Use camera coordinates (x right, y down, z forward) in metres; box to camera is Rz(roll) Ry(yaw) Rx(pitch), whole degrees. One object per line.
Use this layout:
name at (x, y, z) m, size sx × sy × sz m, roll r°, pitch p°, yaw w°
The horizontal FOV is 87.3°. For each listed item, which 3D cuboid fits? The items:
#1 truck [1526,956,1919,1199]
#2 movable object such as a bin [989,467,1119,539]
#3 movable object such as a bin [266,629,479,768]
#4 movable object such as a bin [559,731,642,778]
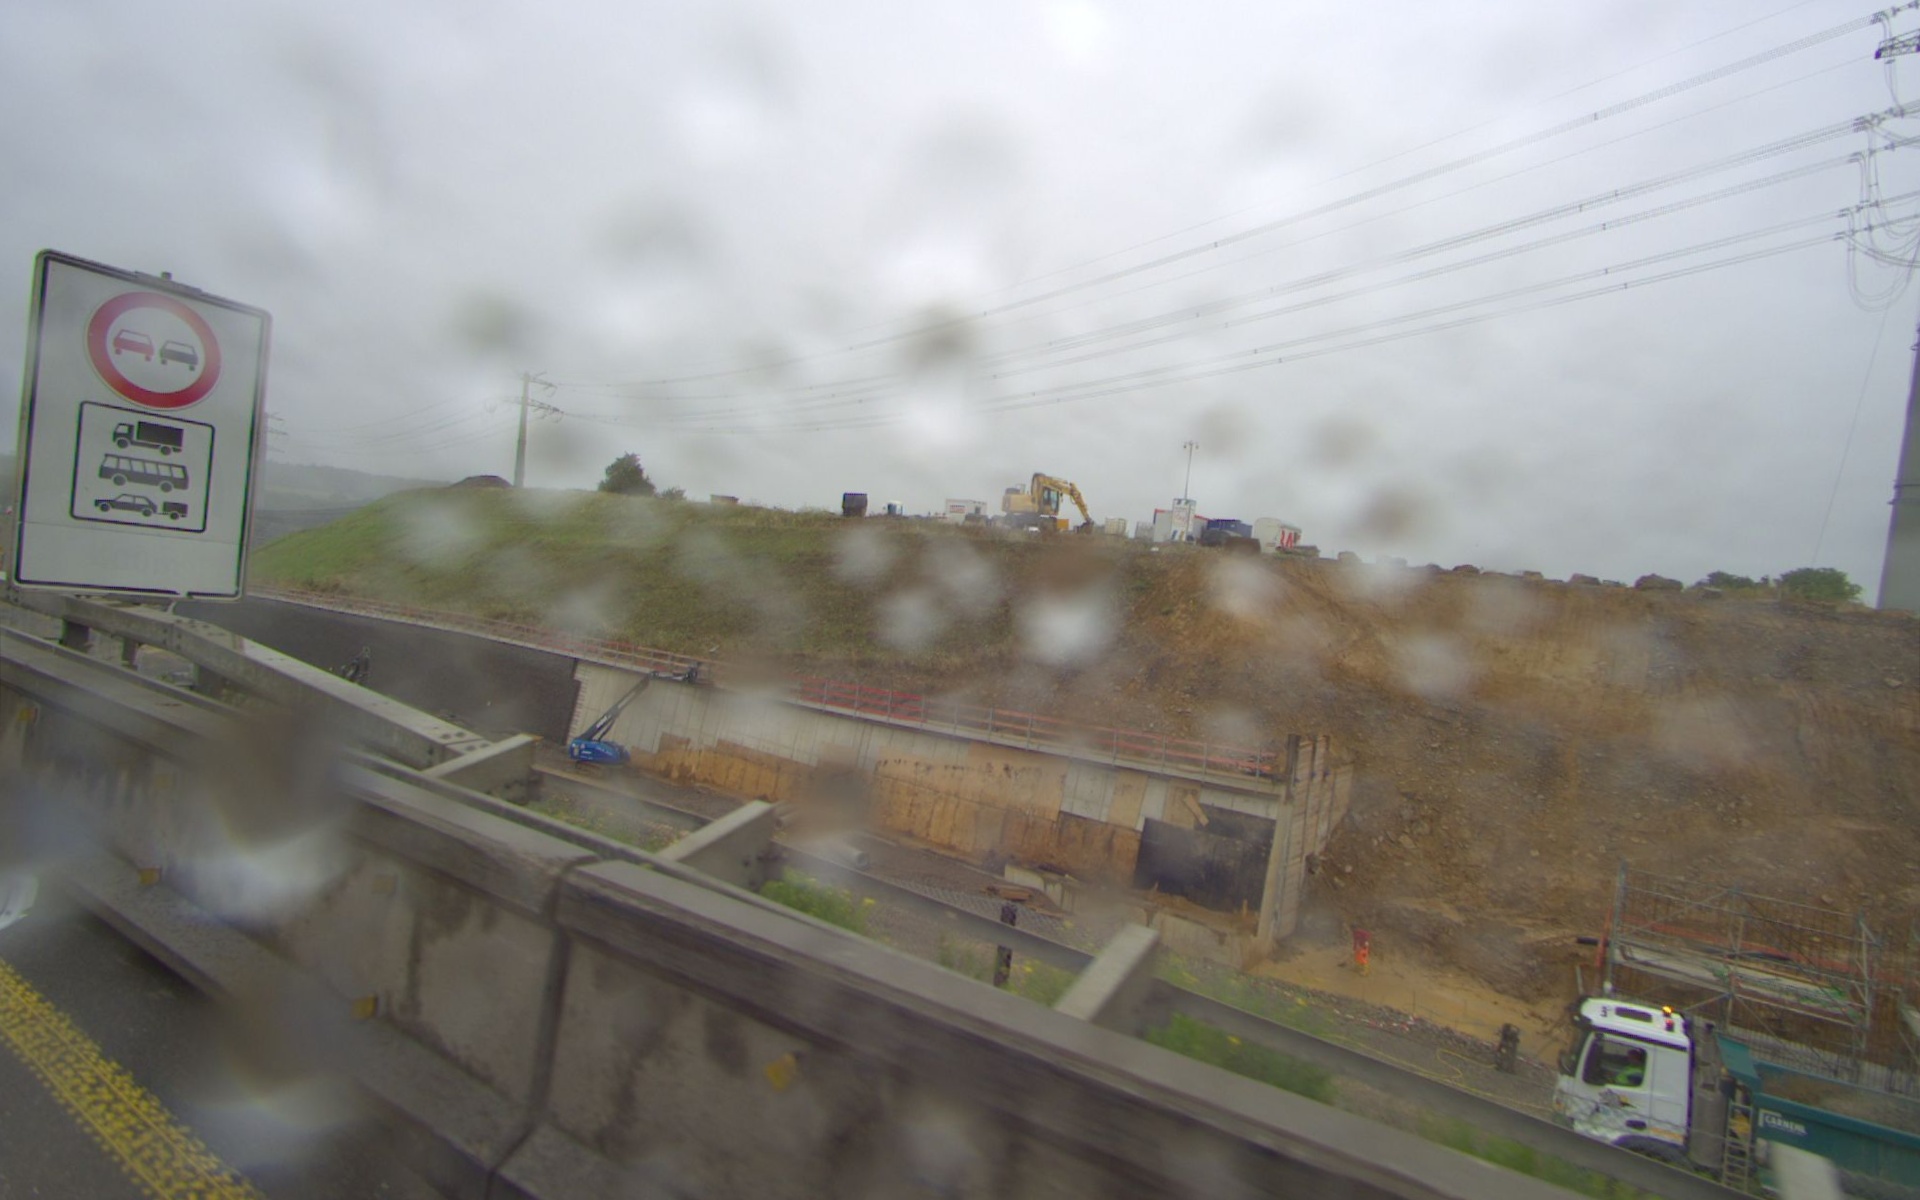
truck at (14.846, 9.291, 16.821) m, size 8.932 × 3.658 × 2.702 m, roll 5°, pitch 0°, yaw 35°
movable object such as a bin at (6.321, -6.627, 68.319) m, size 8.058 × 4.259 × 3.096 m, roll 6°, pitch 1°, yaw 39°
movable object such as a bin at (-30.453, 4.935, 51.848) m, size 11.916 × 5.731 × 4.896 m, roll 3°, pitch -5°, yaw 38°
movable object such as a bin at (-19.005, 8.144, 53.200) m, size 3.204 × 1.932 × 2.522 m, roll 6°, pitch -3°, yaw 32°
